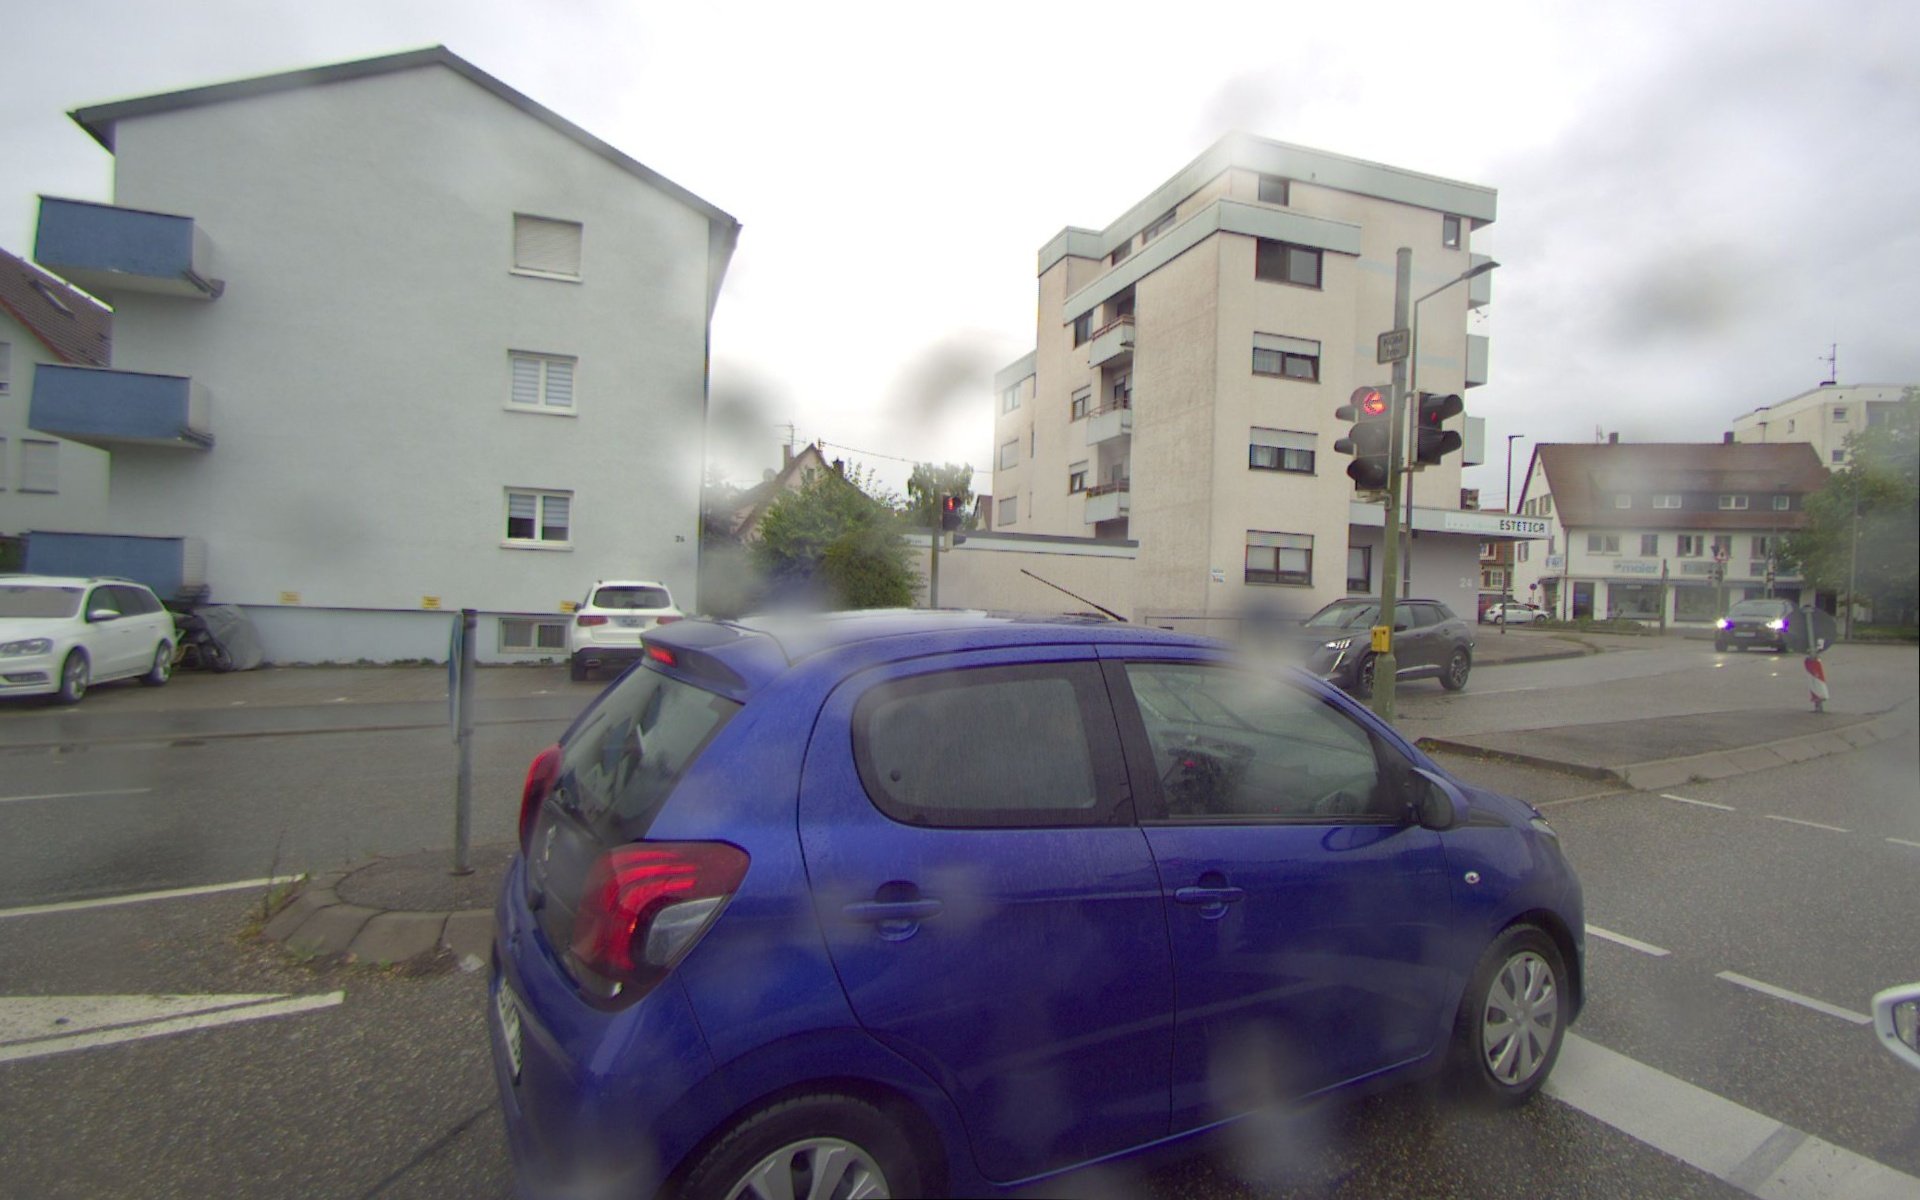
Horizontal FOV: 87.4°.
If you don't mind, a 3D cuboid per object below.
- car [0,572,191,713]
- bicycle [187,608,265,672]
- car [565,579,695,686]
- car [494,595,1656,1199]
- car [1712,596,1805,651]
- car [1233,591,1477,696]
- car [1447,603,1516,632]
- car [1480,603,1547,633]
[{"bbox_3d":[-11.489,0.453,12.498,1.854,1.480,4.732,1,-1,-23],"label":"car"},{"bbox_3d":[-12.703,0.685,17.413,1.053,1.067,0.345,0,1,-30],"label":"bicycle"},{"bbox_3d":[-5.772,0.507,17.568,1.884,1.637,3.982,2,0,-19],"label":"car"},{"bbox_3d":[0.461,0.734,3.093,3.324,1.432,1.498,1,1,-30],"label":"car"},{"bbox_3d":[25.613,0.755,32.183,1.860,1.618,4.158,2,0,45],"label":"car"},{"bbox_3d":[6.644,0.667,16.788,3.961,1.532,1.954,1,0,-36],"label":"car"},{"bbox_3d":[37.200,1.237,71.722,3.987,1.868,1.889,2,0,14],"label":"car"},{"bbox_3d":[37.908,1.233,68.892,3.611,1.946,1.889,2,0,14],"label":"car"}]
